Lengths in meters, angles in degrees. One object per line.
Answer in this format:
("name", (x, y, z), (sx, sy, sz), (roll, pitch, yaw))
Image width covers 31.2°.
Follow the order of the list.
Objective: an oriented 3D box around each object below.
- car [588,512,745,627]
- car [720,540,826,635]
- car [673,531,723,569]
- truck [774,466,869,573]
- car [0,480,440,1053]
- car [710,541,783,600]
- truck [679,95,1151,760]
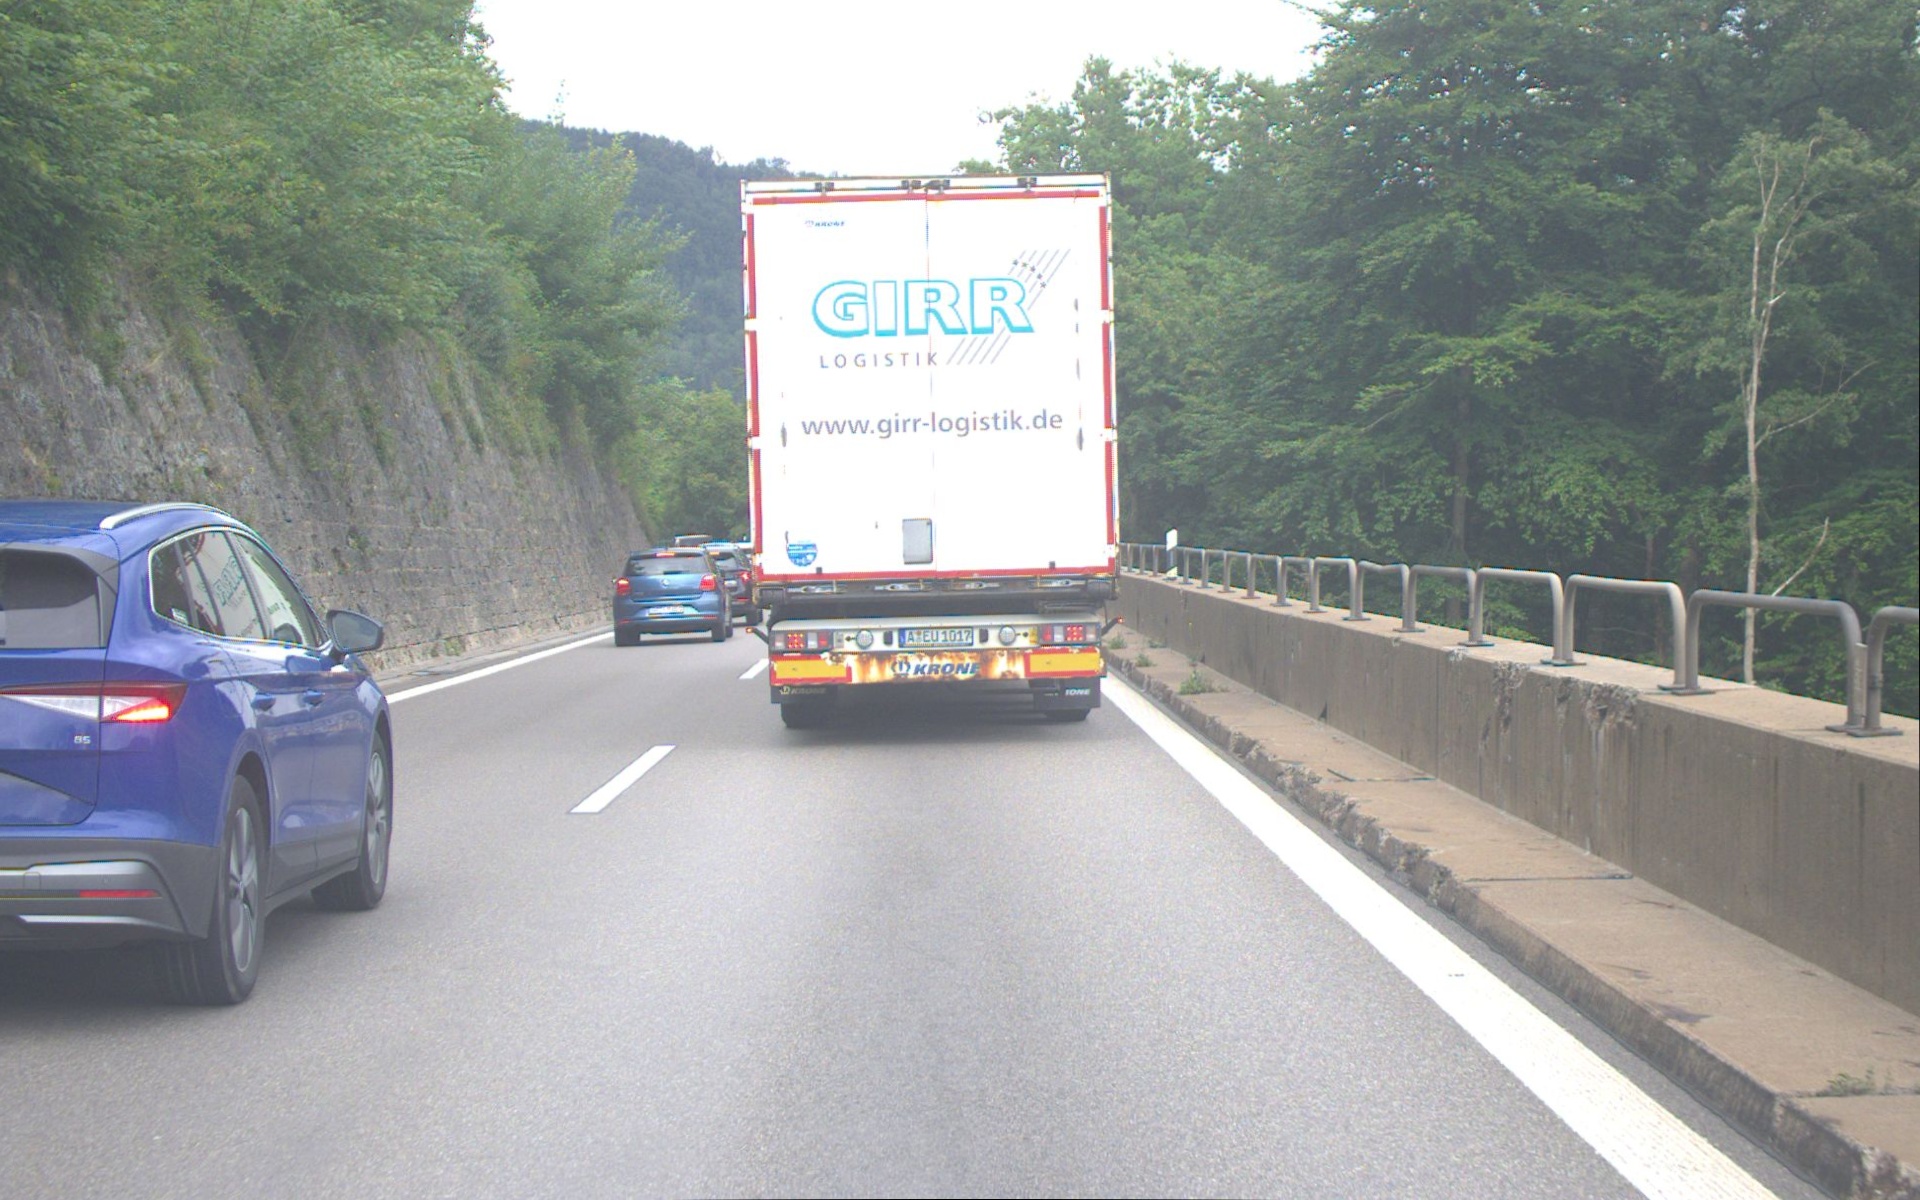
("car", (-4.428, -0.455, 52.424), (1.993, 1.590, 4.354), (-3, 0, -1))
("car", (-3.348, -0.219, 62.120), (1.745, 1.581, 4.000), (3, 0, -2))
("car", (-11.601, -2.217, 152.032), (1.745, 1.581, 4.001), (3, 0, -10))
("truck", (-5.377, -3.046, 131.382), (2.633, 3.844, 12.362), (1, 1, -7))
("car", (-3.235, 0.446, 12.306), (1.993, 1.626, 5.009), (-1, 1, 0))
("car", (-5.489, -0.778, 88.751), (1.745, 1.481, 4.000), (1, 1, -2))
("truck", (-0.439, -1.381, 31.055), (3.084, 4.448, 15.157), (-2, 2, -1))
